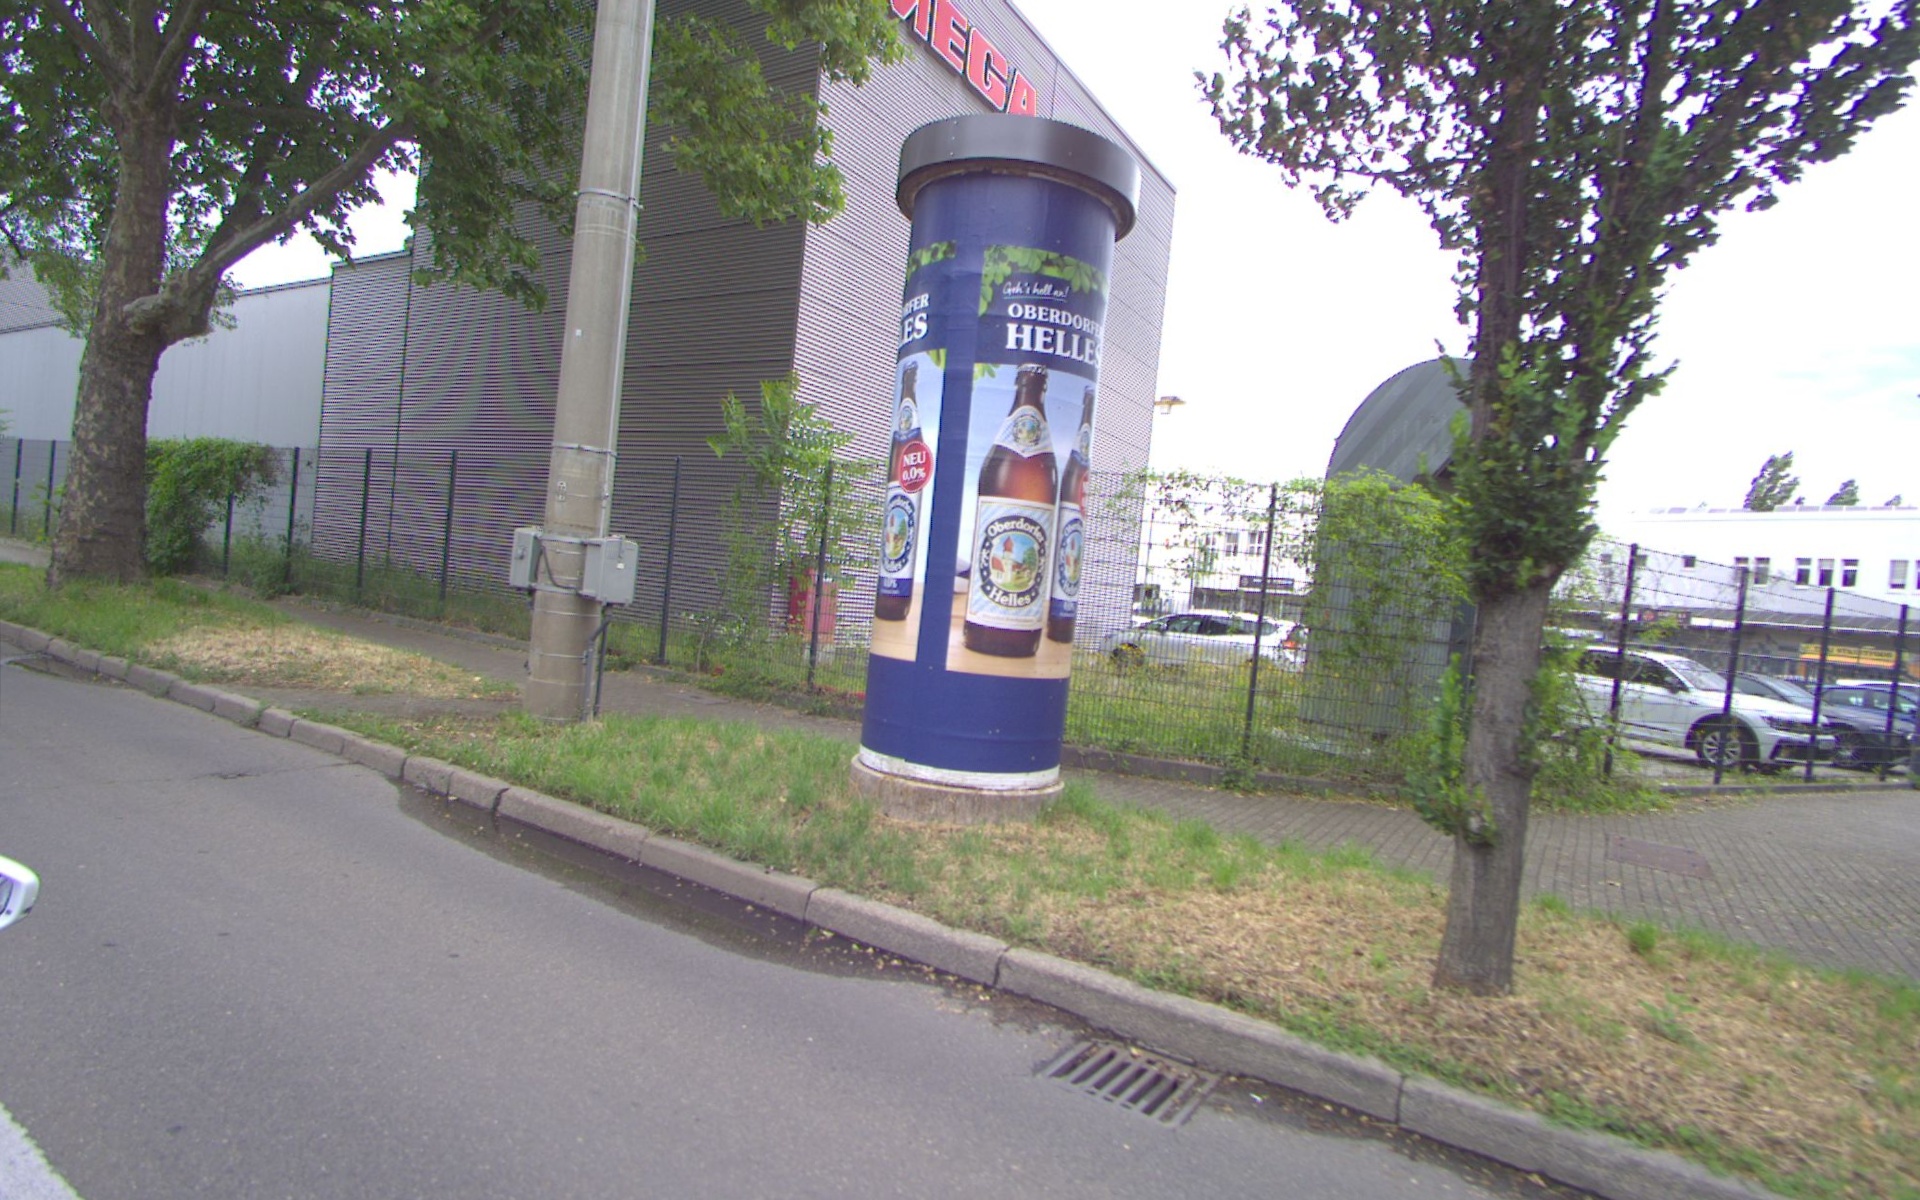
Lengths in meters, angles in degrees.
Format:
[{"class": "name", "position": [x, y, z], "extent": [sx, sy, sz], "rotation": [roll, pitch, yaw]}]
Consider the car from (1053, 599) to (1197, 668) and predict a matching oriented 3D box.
[{"class": "car", "position": [5.101, 1.018, 31.681], "extent": [1.982, 1.668, 4.234], "rotation": [8, -2, -34]}]

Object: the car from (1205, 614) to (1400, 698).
[{"class": "car", "position": [9.116, 1.473, 27.041], "extent": [4.418, 1.687, 1.999], "rotation": [6, 1, -1]}]

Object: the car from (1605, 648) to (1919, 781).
[{"class": "car", "position": [14.791, 2.009, 18.445], "extent": [1.978, 1.686, 4.465], "rotation": [5, 1, -31]}]

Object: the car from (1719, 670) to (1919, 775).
[{"class": "car", "position": [19.293, 2.642, 21.431], "extent": [1.978, 1.686, 4.465], "rotation": [5, 1, -31]}]

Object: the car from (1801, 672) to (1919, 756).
[{"class": "car", "position": [22.985, 2.845, 23.613], "extent": [1.978, 1.686, 4.465], "rotation": [5, 1, -31]}]

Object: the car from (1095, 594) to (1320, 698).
[{"class": "car", "position": [5.330, 0.983, 21.725], "extent": [4.198, 1.668, 1.998], "rotation": [6, -2, 29]}]

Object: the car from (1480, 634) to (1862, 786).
[{"class": "car", "position": [11.099, 1.652, 16.081], "extent": [1.978, 1.686, 4.465], "rotation": [5, 1, -31]}]
